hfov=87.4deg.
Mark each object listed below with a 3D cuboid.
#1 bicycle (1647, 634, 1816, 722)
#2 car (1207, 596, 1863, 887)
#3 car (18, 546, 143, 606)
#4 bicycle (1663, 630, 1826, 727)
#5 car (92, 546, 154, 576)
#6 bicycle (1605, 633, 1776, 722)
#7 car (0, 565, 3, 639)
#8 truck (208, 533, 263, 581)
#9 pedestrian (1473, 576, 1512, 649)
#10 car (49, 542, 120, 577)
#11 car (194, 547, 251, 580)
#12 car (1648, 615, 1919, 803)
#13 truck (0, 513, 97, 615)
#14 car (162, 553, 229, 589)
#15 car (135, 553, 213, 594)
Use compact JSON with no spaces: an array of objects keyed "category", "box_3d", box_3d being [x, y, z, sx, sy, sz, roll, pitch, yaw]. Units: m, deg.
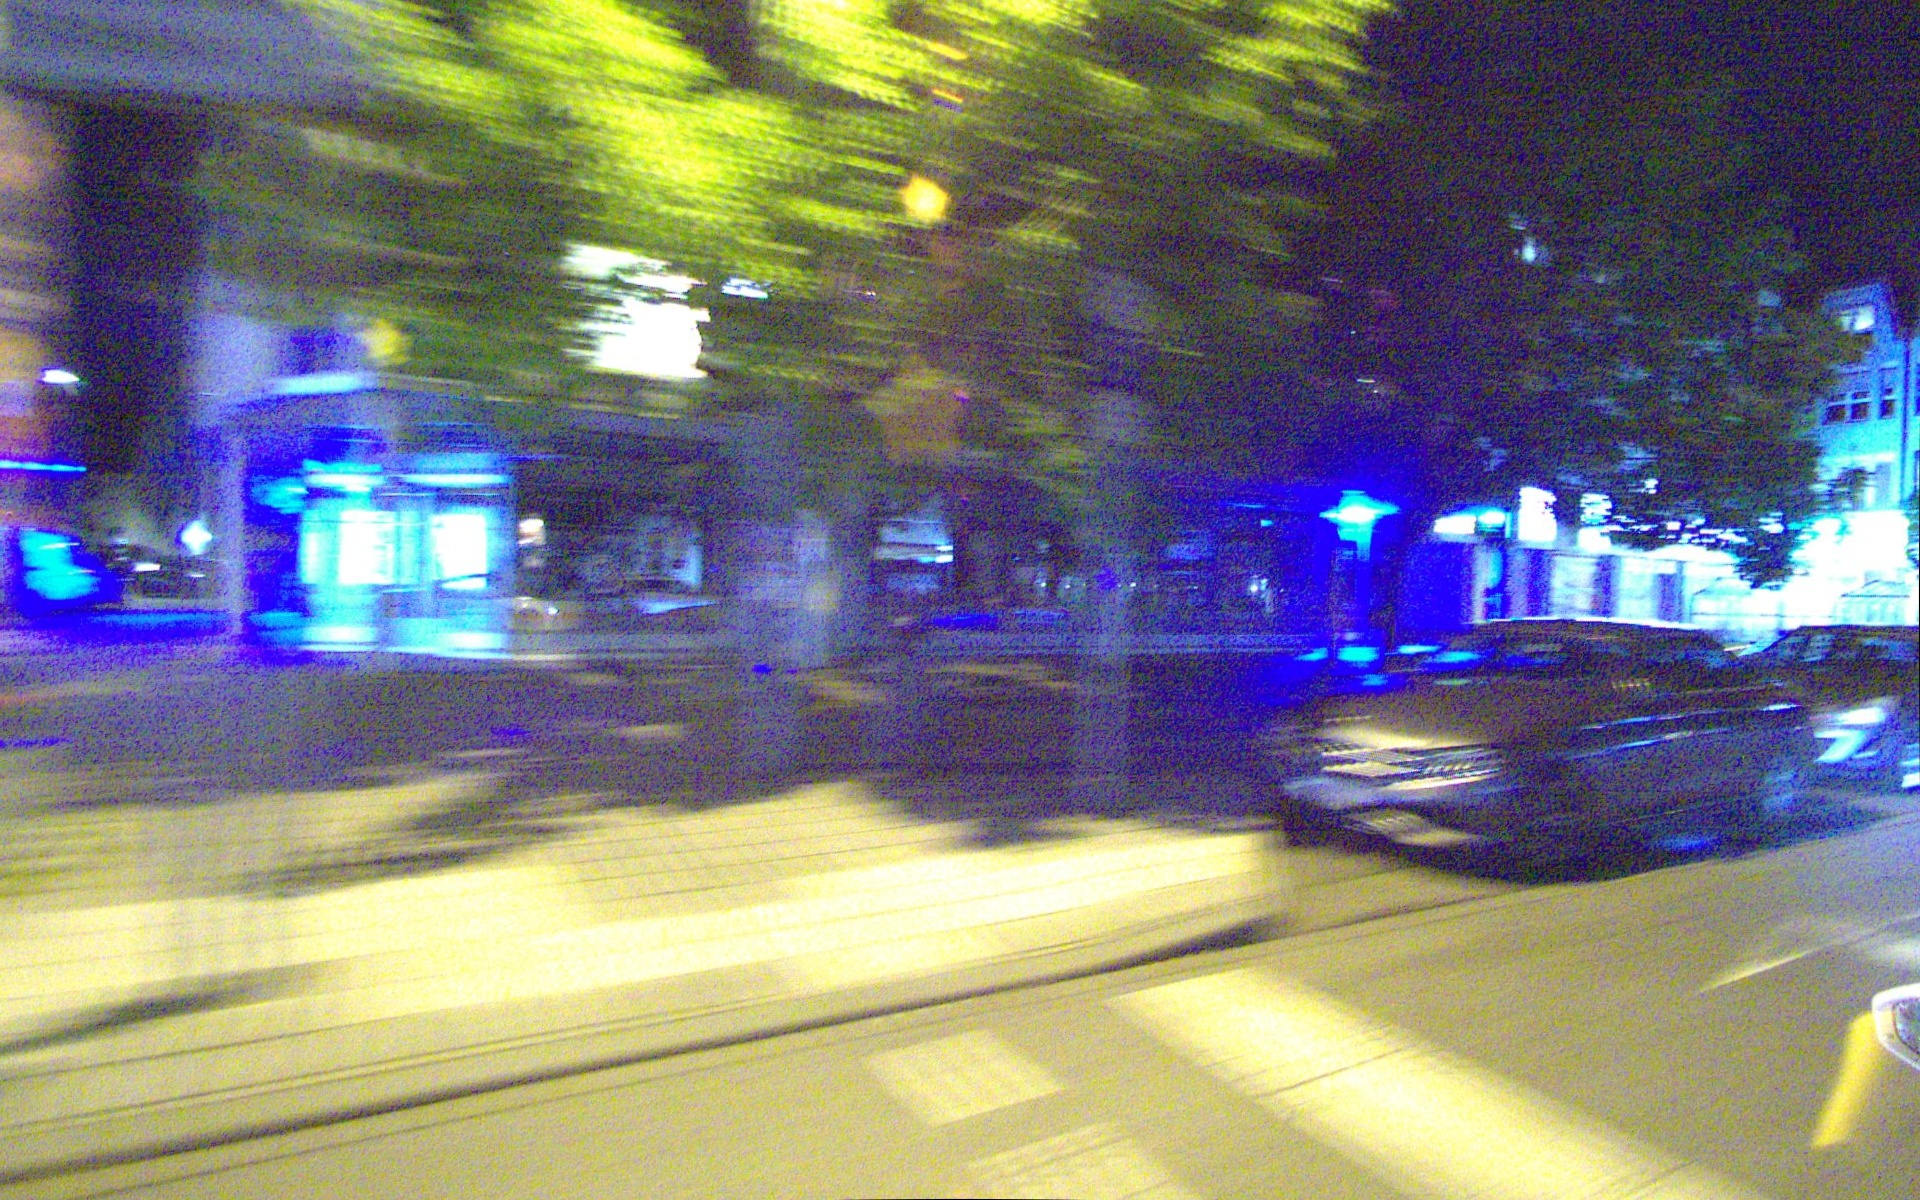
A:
[{"category":"bicycle","box_3d":[11.132,1.088,14.562,0.526,1.049,1.842,1,2,-29]},{"category":"car","box_3d":[4.265,0.801,7.238,4.861,1.444,1.798,2,2,-29]},{"category":"car","box_3d":[-23.293,-0.617,26.753,1.706,1.437,3.880,2,0,-29]},{"category":"bicycle","box_3d":[11.650,1.127,14.987,0.526,1.270,1.842,1,0,-29]},{"category":"car","box_3d":[-43.970,-2.025,52.868,1.782,1.414,3.880,2,1,-29]},{"category":"bicycle","box_3d":[10.166,1.048,14.054,0.526,1.013,1.842,1,2,-29]},{"category":"car","box_3d":[-18.330,0.047,17.503,1.640,1.403,3.076,2,0,-29]},{"category":"truck","box_3d":[-37.371,-2.170,51.888,1.836,2.268,3.963,2,0,-29]},{"category":"pedestrian","box_3d":[12.280,0.285,23.172,0.624,1.658,0.476,1,1,-28]},{"category":"car","box_3d":[-42.059,-1.924,48.337,1.782,1.543,3.880,2,1,-29]},{"category":"car","box_3d":[-35.187,-1.701,48.001,1.706,1.437,3.880,2,0,-29]},{"category":"car","box_3d":[8.886,0.966,10.024,3.928,1.448,1.714,2,2,-29]},{"category":"truck","box_3d":[-20.583,-0.779,21.913,1.836,2.050,4.010,2,0,-29]},{"category":"car","box_3d":[-32.600,-1.221,42.933,1.706,1.437,3.880,2,0,-29]},{"category":"car","box_3d":[-29.640,-0.992,37.989,1.706,1.437,3.880,2,0,-29]}]
